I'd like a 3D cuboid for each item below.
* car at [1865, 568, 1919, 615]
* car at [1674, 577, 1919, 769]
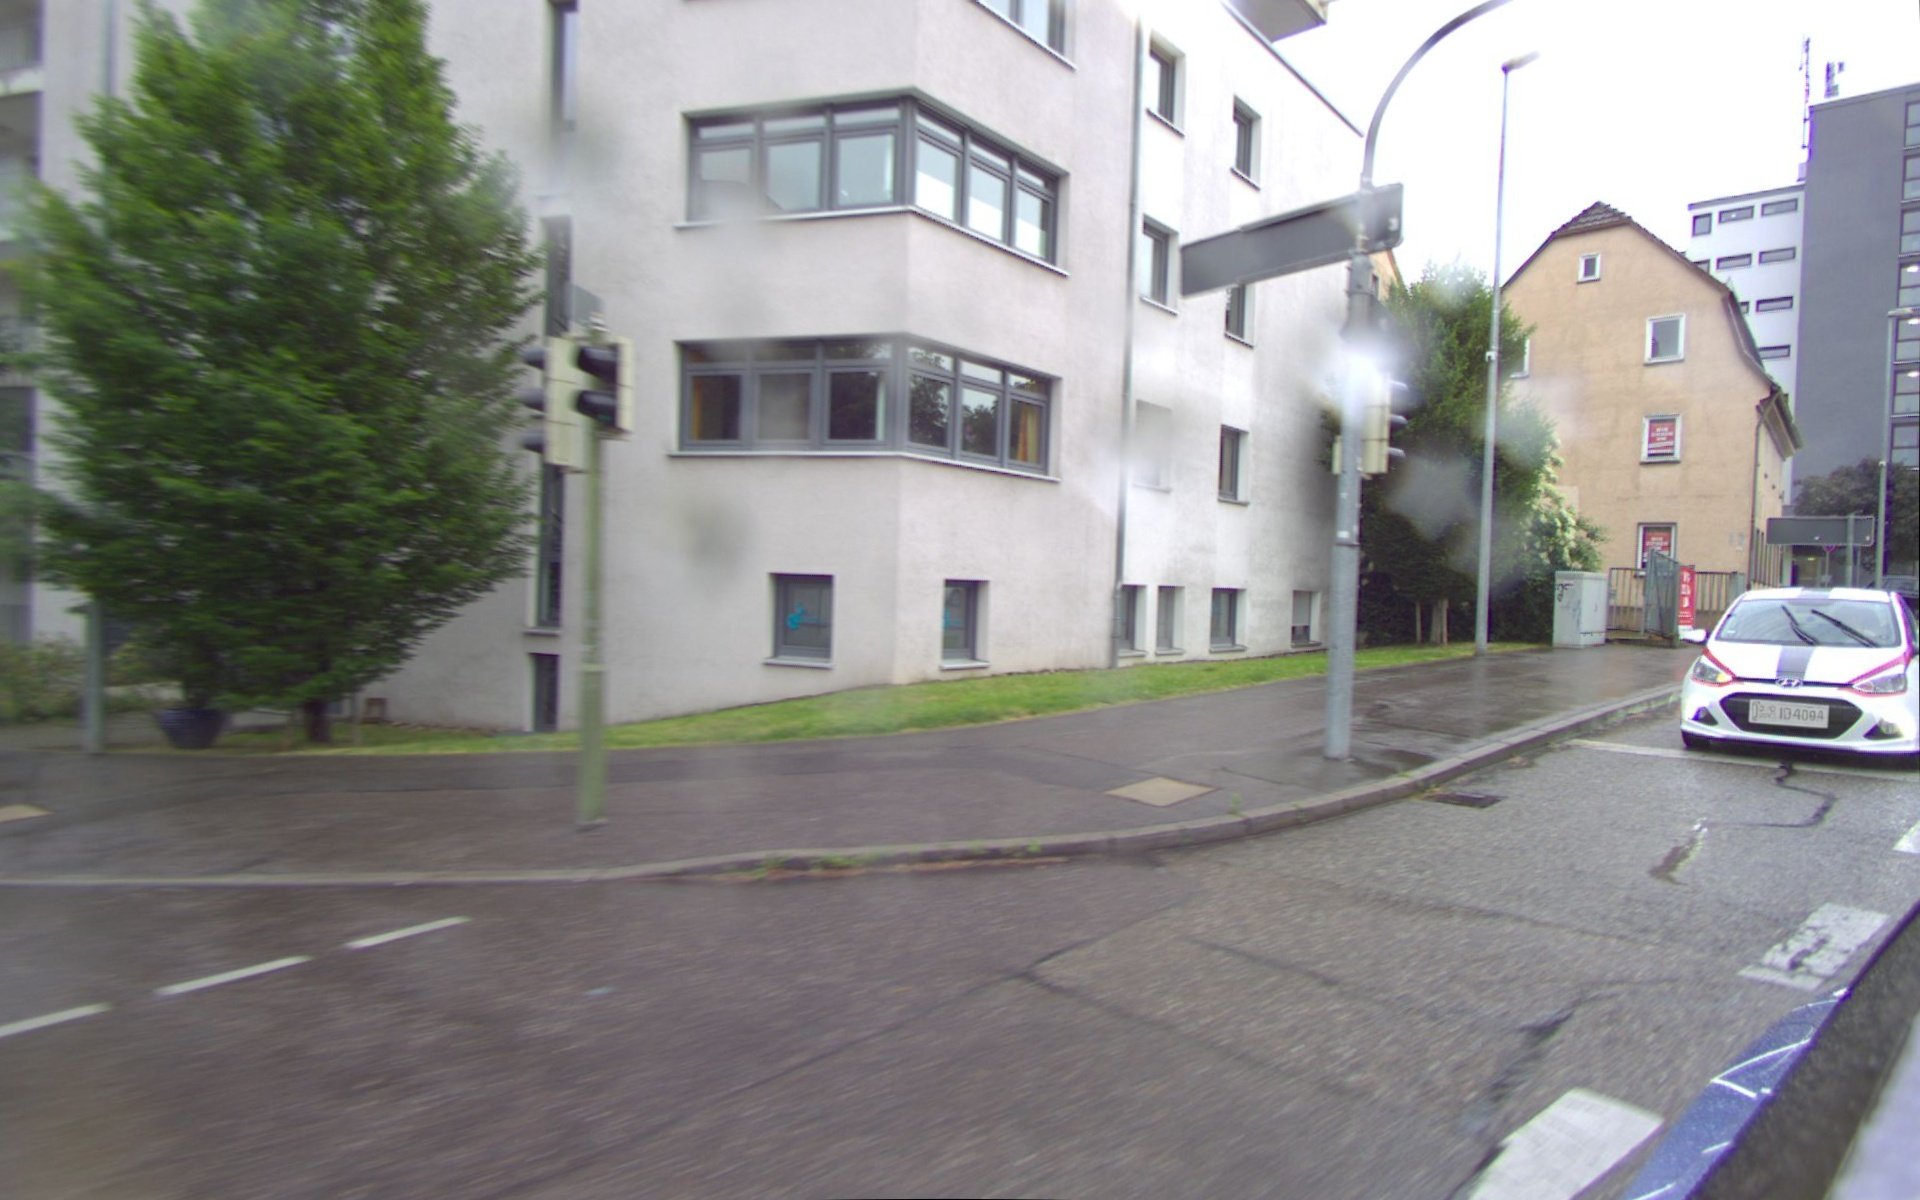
[{"bbox_3d":[35.025,-0.221,35.580,1.683,1.591,4.432,-1,5,-19],"label":"car"},{"bbox_3d":[8.323,0.528,9.685,3.700,1.471,1.709,-1,2,-43],"label":"car"}]
